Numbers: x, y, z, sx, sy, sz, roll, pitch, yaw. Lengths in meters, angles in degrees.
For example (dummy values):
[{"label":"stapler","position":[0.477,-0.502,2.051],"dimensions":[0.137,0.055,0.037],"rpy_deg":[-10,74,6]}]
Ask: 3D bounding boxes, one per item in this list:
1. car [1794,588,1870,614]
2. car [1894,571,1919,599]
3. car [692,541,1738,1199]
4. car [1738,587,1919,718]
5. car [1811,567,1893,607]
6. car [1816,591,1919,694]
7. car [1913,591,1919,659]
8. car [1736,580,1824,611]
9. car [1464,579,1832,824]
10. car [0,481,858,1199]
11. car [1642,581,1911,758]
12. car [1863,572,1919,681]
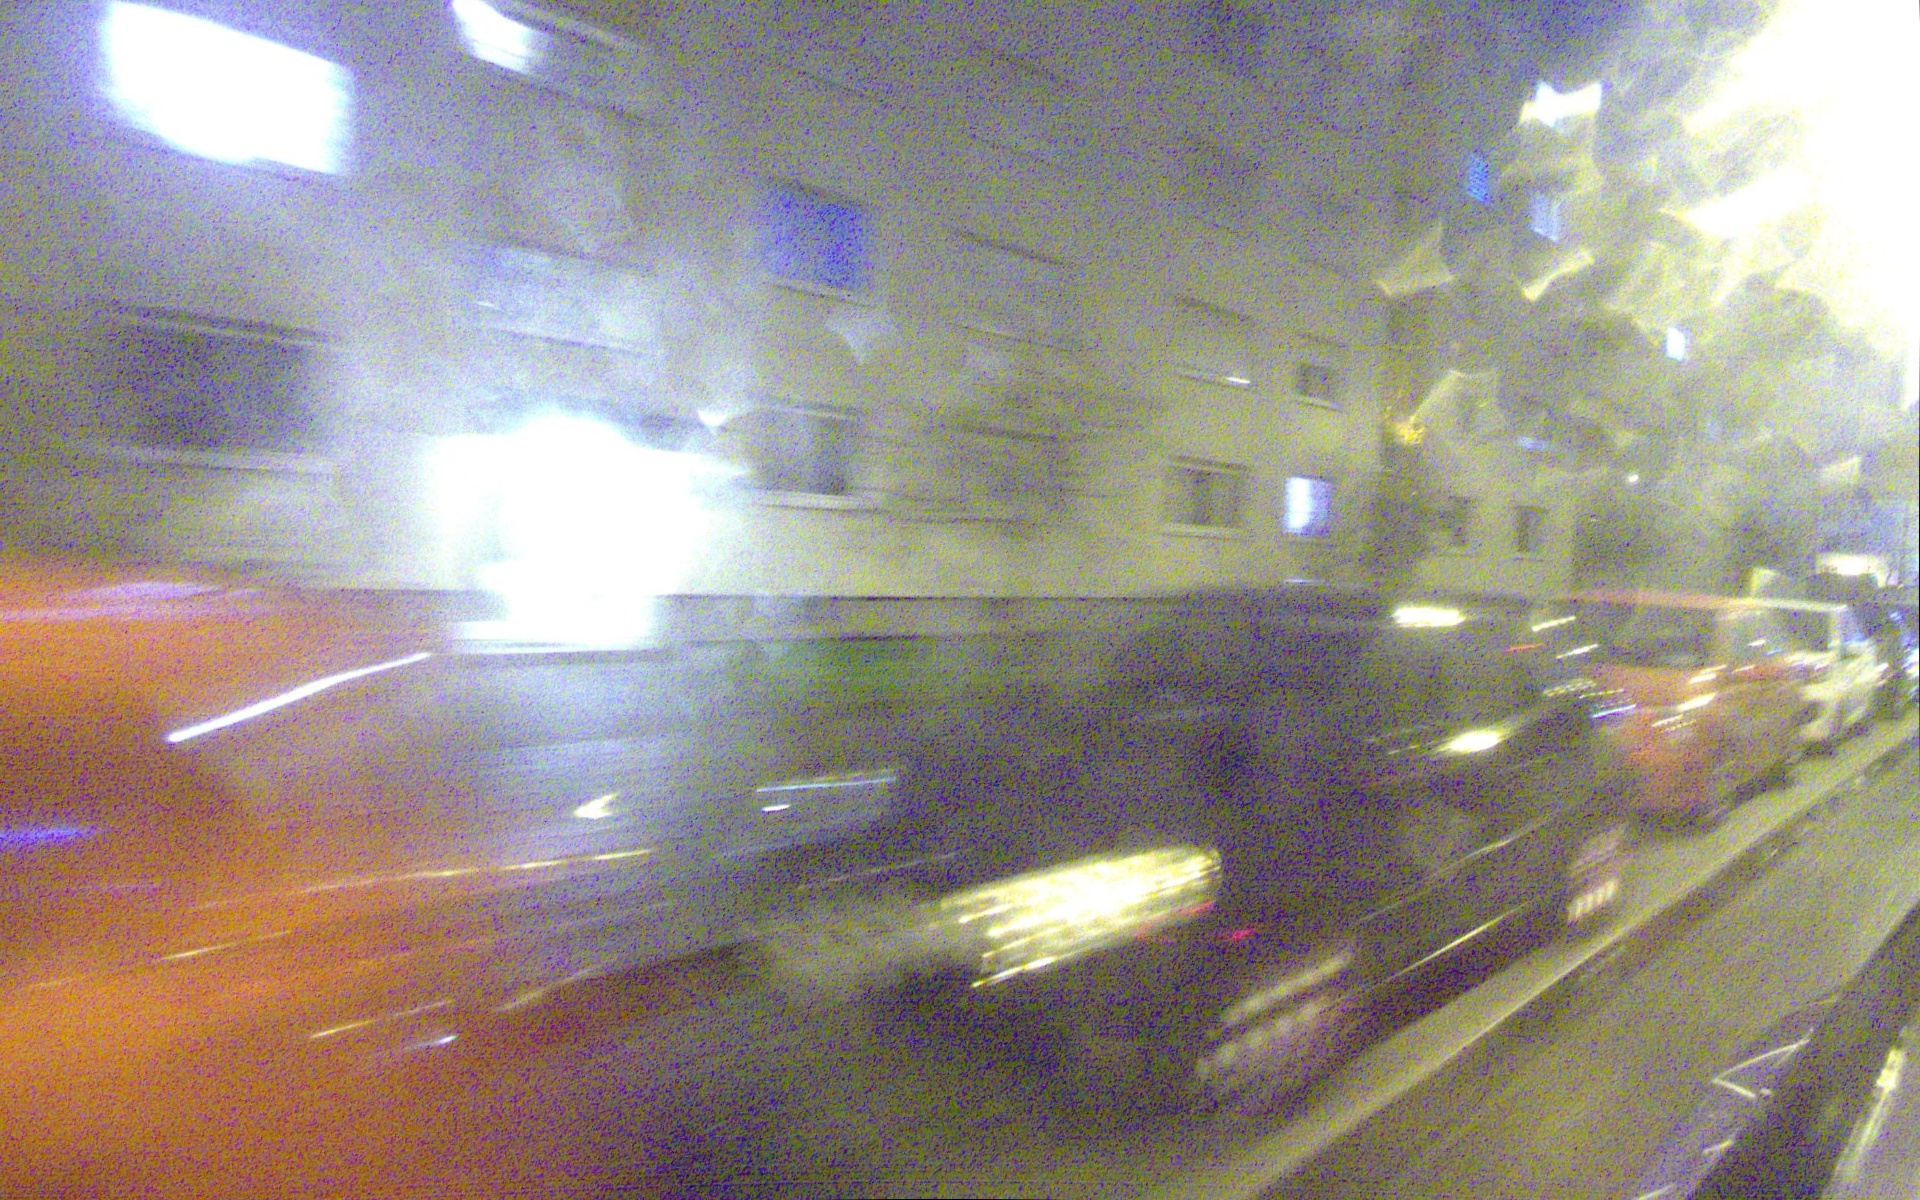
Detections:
[{"label":"car","position":[59.452,0.047,69.006],"dimensions":[1.636,1.474,3.663],"rpy_deg":[1,3,-40]},{"label":"car","position":[79.880,-1.177,83.267],"dimensions":[1.767,2.195,4.031],"rpy_deg":[2,3,-34]},{"label":"car","position":[1.543,0.675,4.334],"dimensions":[4.889,1.566,1.759],"rpy_deg":[1,3,-40]},{"label":"car","position":[12.493,0.644,14.172],"dimensions":[4.207,1.465,1.798],"rpy_deg":[1,3,-43]},{"label":"car","position":[64.988,-0.970,73.808],"dimensions":[1.767,2.650,4.031],"rpy_deg":[2,3,-34]},{"label":"car","position":[16.104,0.687,17.282],"dimensions":[4.060,1.509,1.797],"rpy_deg":[1,3,-44]},{"label":"car","position":[24.372,0.654,24.381],"dimensions":[3.886,1.566,1.797],"rpy_deg":[1,3,-44]},{"label":"car","position":[52.860,-0.319,65.285],"dimensions":[1.635,1.727,4.095],"rpy_deg":[1,3,-37]},{"label":"car","position":[5.236,0.587,7.522],"dimensions":[3.567,1.322,1.458],"rpy_deg":[1,3,-43]},{"label":"car","position":[-2.409,0.595,0.877],"dimensions":[4.273,1.566,1.830],"rpy_deg":[1,3,-39]},{"label":"car","position":[9.139,0.633,11.190],"dimensions":[4.207,1.505,1.677],"rpy_deg":[1,3,-43]},{"label":"car","position":[19.940,0.534,20.628],"dimensions":[5.757,1.973,1.797],"rpy_deg":[1,3,-44]}]
